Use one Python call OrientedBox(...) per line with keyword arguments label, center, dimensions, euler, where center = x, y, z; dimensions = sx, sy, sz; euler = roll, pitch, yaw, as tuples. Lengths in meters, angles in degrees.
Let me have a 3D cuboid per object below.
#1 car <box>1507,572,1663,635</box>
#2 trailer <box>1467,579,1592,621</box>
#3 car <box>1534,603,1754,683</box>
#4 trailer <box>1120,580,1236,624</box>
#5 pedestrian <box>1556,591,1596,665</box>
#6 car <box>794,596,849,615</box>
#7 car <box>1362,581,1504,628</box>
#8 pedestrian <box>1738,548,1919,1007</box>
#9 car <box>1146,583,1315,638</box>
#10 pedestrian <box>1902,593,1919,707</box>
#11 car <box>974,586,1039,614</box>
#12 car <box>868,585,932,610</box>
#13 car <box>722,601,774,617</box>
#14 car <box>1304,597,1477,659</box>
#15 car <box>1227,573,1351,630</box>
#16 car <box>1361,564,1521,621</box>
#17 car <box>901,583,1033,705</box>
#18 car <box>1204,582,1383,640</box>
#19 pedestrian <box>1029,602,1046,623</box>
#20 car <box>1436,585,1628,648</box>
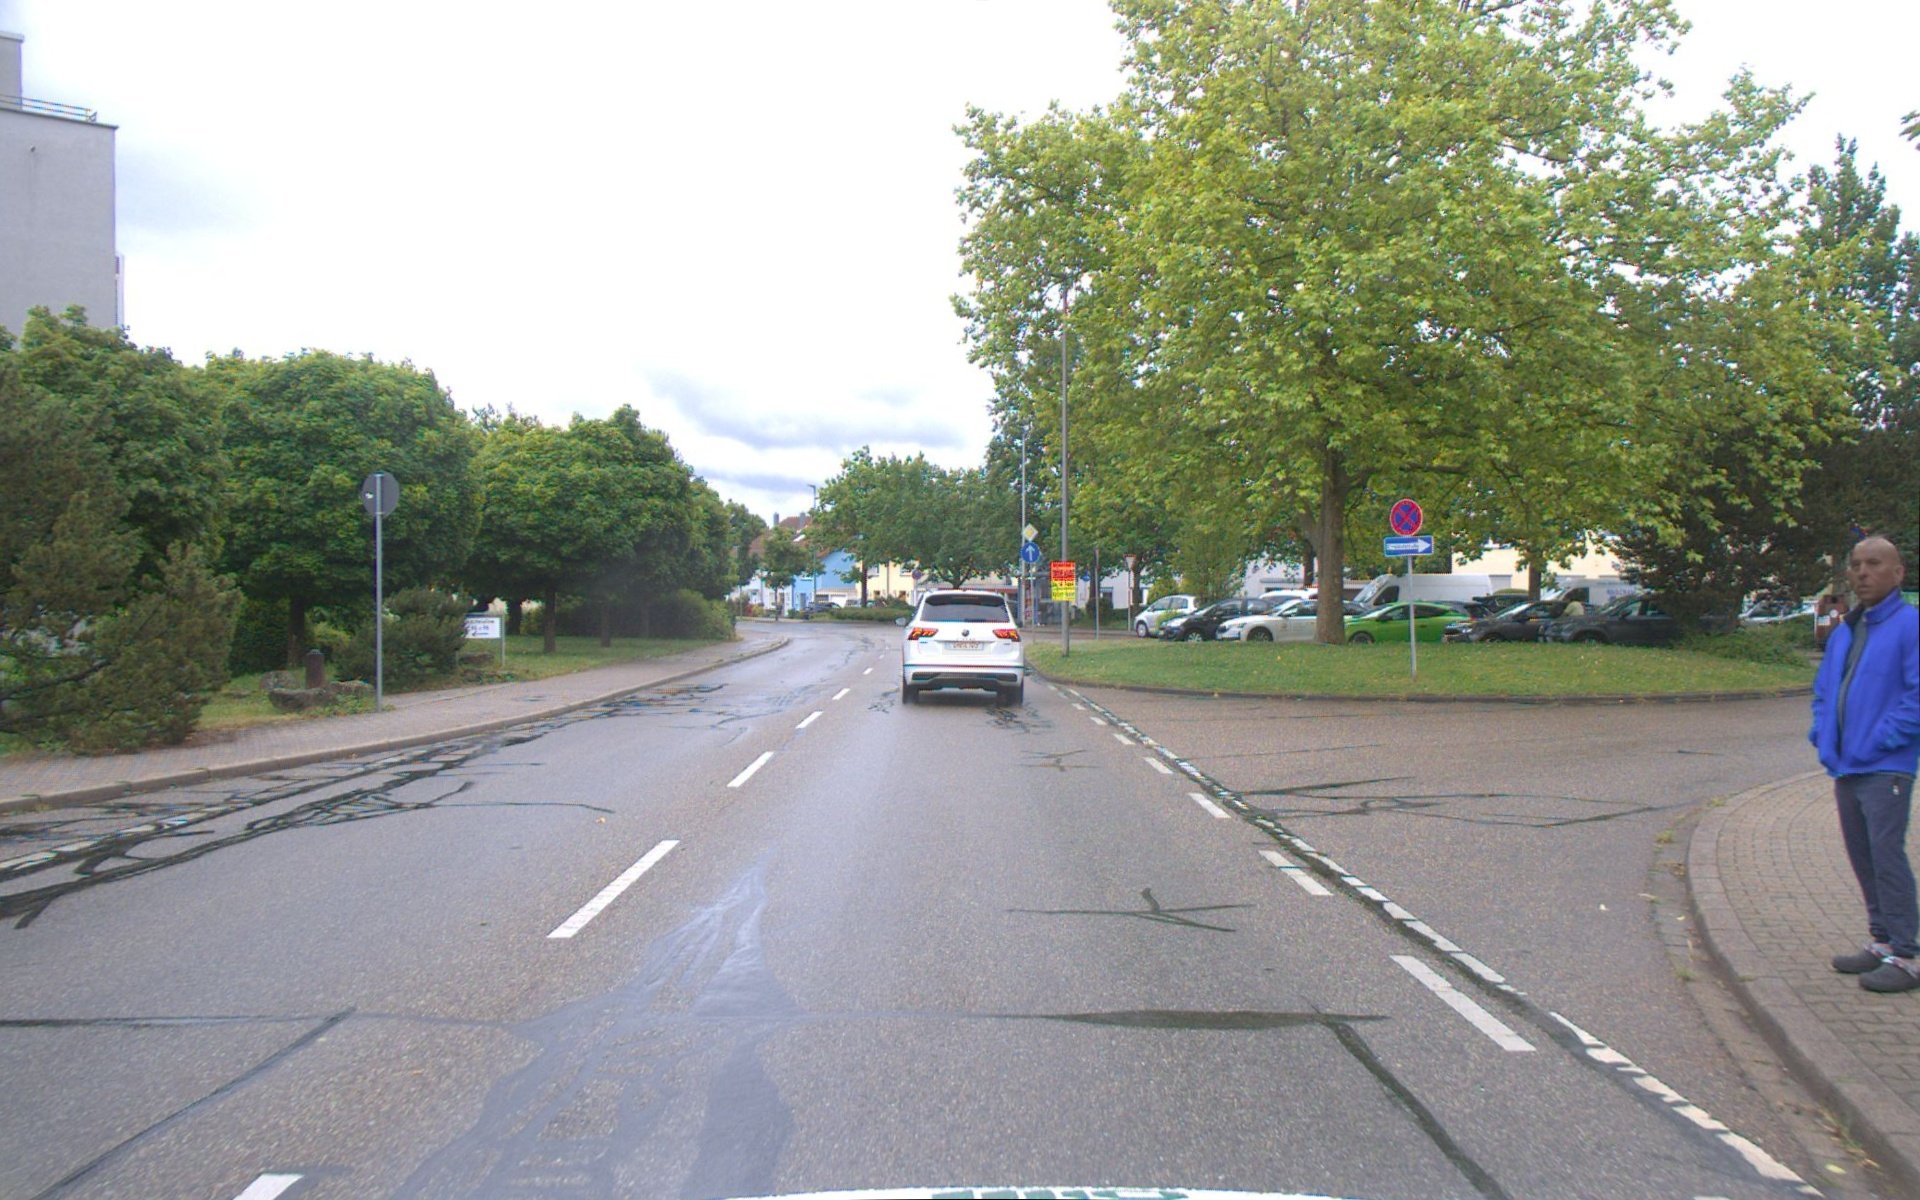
OrientedBox(label="car", center=(21.599, 0.101, 57.265), dimensions=(4.660, 2.049, 1.997), euler=(-1, 0, -8))
OrientedBox(label="trailer", center=(20.395, -0.012, 59.326), dimensions=(3.905, 1.462, 1.712), euler=(0, 0, 0))
OrientedBox(label="car", center=(15.093, 0.932, 36.686), dimensions=(4.188, 1.655, 1.766), euler=(-1, 0, 10))
OrientedBox(label="trailer", center=(8.200, 0.074, 62.543), dimensions=(1.977, 1.570, 4.372), euler=(-1, 1, -34))
OrientedBox(label="pedestrian", center=(14.209, 0.647, 38.152), dimensions=(0.722, 1.680, 0.587), euler=(0, 0, 2))
OrientedBox(label="car", center=(-10.619, 0.426, 126.811), dimensions=(3.962, 1.411, 1.651), euler=(0, 0, -40))
OrientedBox(label="car", center=(14.818, 0.130, 51.947), dimensions=(1.746, 1.407, 4.134), euler=(-1, 0, -36))
OrientedBox(label="pedestrian", center=(3.608, 0.651, 6.561), dimensions=(0.580, 1.695, 0.772), euler=(0, 0, -17))
OrientedBox(label="car", center=(7.787, 0.274, 47.800), dimensions=(4.485, 1.468, 1.762), euler=(-1, 0, -7))
OrientedBox(label="pedestrian", center=(14.026, 0.711, 23.868), dimensions=(0.722, 1.611, 0.948), euler=(0, 0, 31))
OrientedBox(label="car", center=(3.039, -0.018, 107.162), dimensions=(3.958, 1.751, 1.899), euler=(-1, 0, -37))
OrientedBox(label="car", center=(-4.275, -0.190, 118.146), dimensions=(4.144, 1.701, 1.967), euler=(-1, 0, -35))
OrientedBox(label="car", center=(-17.964, 0.738, 140.345), dimensions=(1.651, 1.283, 4.287), euler=(1, 0, 44))
OrientedBox(label="car", center=(11.053, 0.691, 42.594), dimensions=(3.933, 1.468, 1.762), euler=(-1, 0, -7))
OrientedBox(label="car", center=(11.391, 0.028, 57.472), dimensions=(1.974, 1.914, 4.168), euler=(-1, 0, -31))
OrientedBox(label="car", center=(18.695, -0.302, 64.350), dimensions=(5.717, 2.049, 1.995), euler=(-1, 0, -12))
OrientedBox(label="car", center=(0.086, 0.603, 25.370), dimensions=(1.827, 1.679, 4.000), euler=(-1, 1, 0))
OrientedBox(label="car", center=(9.105, 0.278, 45.293), dimensions=(4.485, 1.468, 1.762), euler=(-1, 0, -7))
OrientedBox(label="pedestrian", center=(3.711, 0.605, 79.547), dimensions=(0.735, 1.029, 0.550), euler=(0, 0, -10))
OrientedBox(label="car", center=(13.581, 0.372, 39.366), dimensions=(3.933, 1.395, 1.762), euler=(-1, 0, -7))
